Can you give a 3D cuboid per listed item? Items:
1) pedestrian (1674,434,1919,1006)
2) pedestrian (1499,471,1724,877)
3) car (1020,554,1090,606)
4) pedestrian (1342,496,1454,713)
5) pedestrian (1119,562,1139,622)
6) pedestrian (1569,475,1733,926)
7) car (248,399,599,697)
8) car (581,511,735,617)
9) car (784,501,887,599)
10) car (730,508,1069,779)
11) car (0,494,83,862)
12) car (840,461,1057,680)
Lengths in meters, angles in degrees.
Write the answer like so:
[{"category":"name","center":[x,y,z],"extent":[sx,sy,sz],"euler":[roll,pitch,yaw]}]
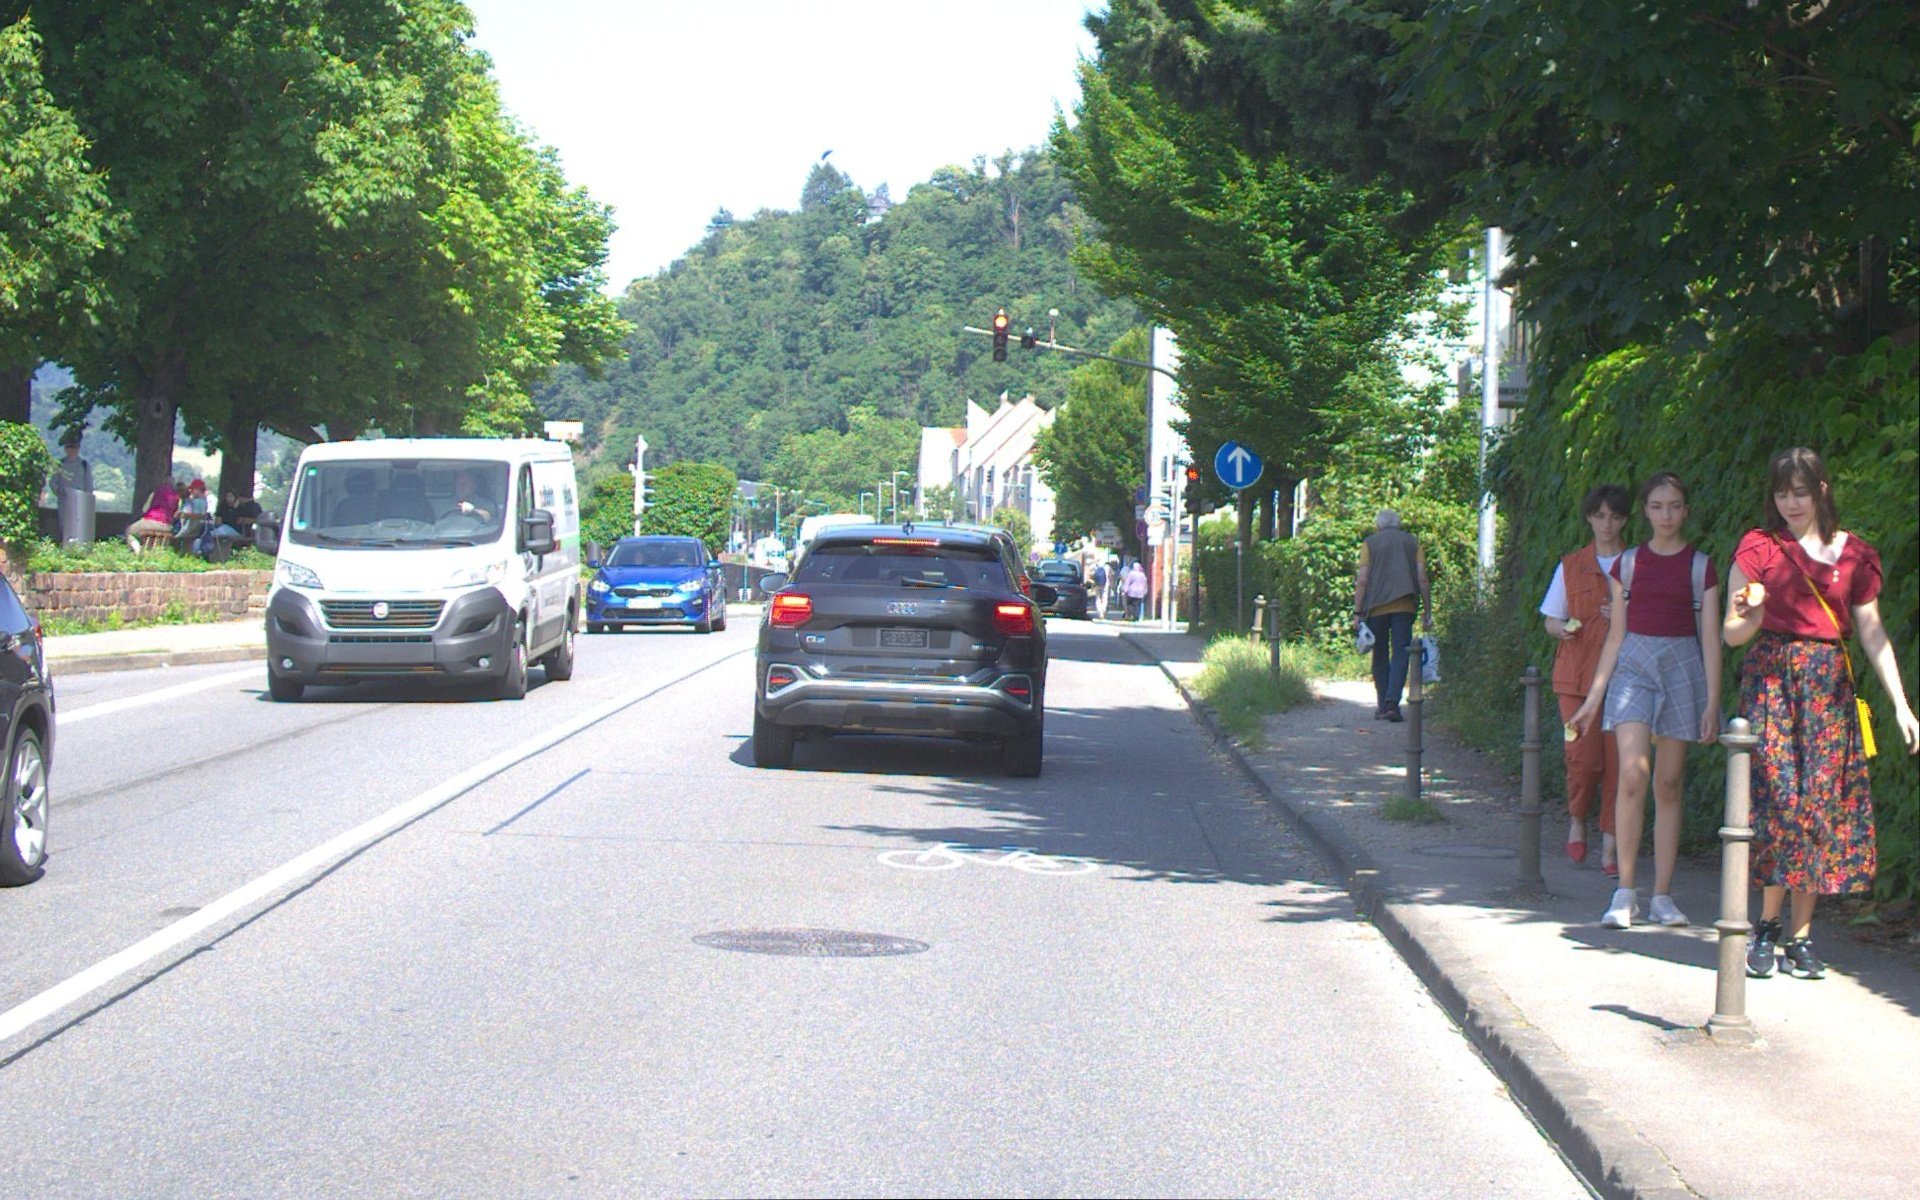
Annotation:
[{"category":"pedestrian","center":[2.721,0.357,10.934],"extent":[0.681,1.736,0.913],"euler":[1,1,0]},{"category":"pedestrian","center":[2.699,0.288,14.322],"extent":[0.735,1.628,0.920],"euler":[1,1,0]},{"category":"car","center":[2.820,-0.593,102.921],"extent":[1.993,1.448,4.008],"euler":[1,-1,1]},{"category":"pedestrian","center":[3.403,0.030,26.750],"extent":[0.728,1.644,0.882],"euler":[-1,1,1]},{"category":"pedestrian","center":[4.412,-0.198,89.776],"extent":[0.489,1.554,0.461],"euler":[1,-1,1]},{"category":"pedestrian","center":[2.516,0.355,12.556],"extent":[0.455,1.600,0.579],"euler":[1,1,0]},{"category":"car","center":[-4.493,-0.490,29.748],"extent":[2.096,2.294,5.869],"euler":[1,2,0]},{"category":"car","center":[-4.429,-0.505,50.866],"extent":[1.899,1.484,3.796],"euler":[1,0,0]},{"category":"car","center":[-3.321,-1.311,92.863],"extent":[2.494,2.458,5.619],"euler":[1,-1,1]},{"category":"car","center":[-0.297,0.213,22.203],"extent":[1.857,1.518,4.000],"euler":[2,1,3]},{"category":"car","center":[-4.550,0.322,12.137],"extent":[1.815,1.393,4.347],"euler":[0,2,0]},{"category":"car","center":[-0.094,-0.289,34.036],"extent":[1.993,2.007,4.000],"euler":[1,0,0]}]
